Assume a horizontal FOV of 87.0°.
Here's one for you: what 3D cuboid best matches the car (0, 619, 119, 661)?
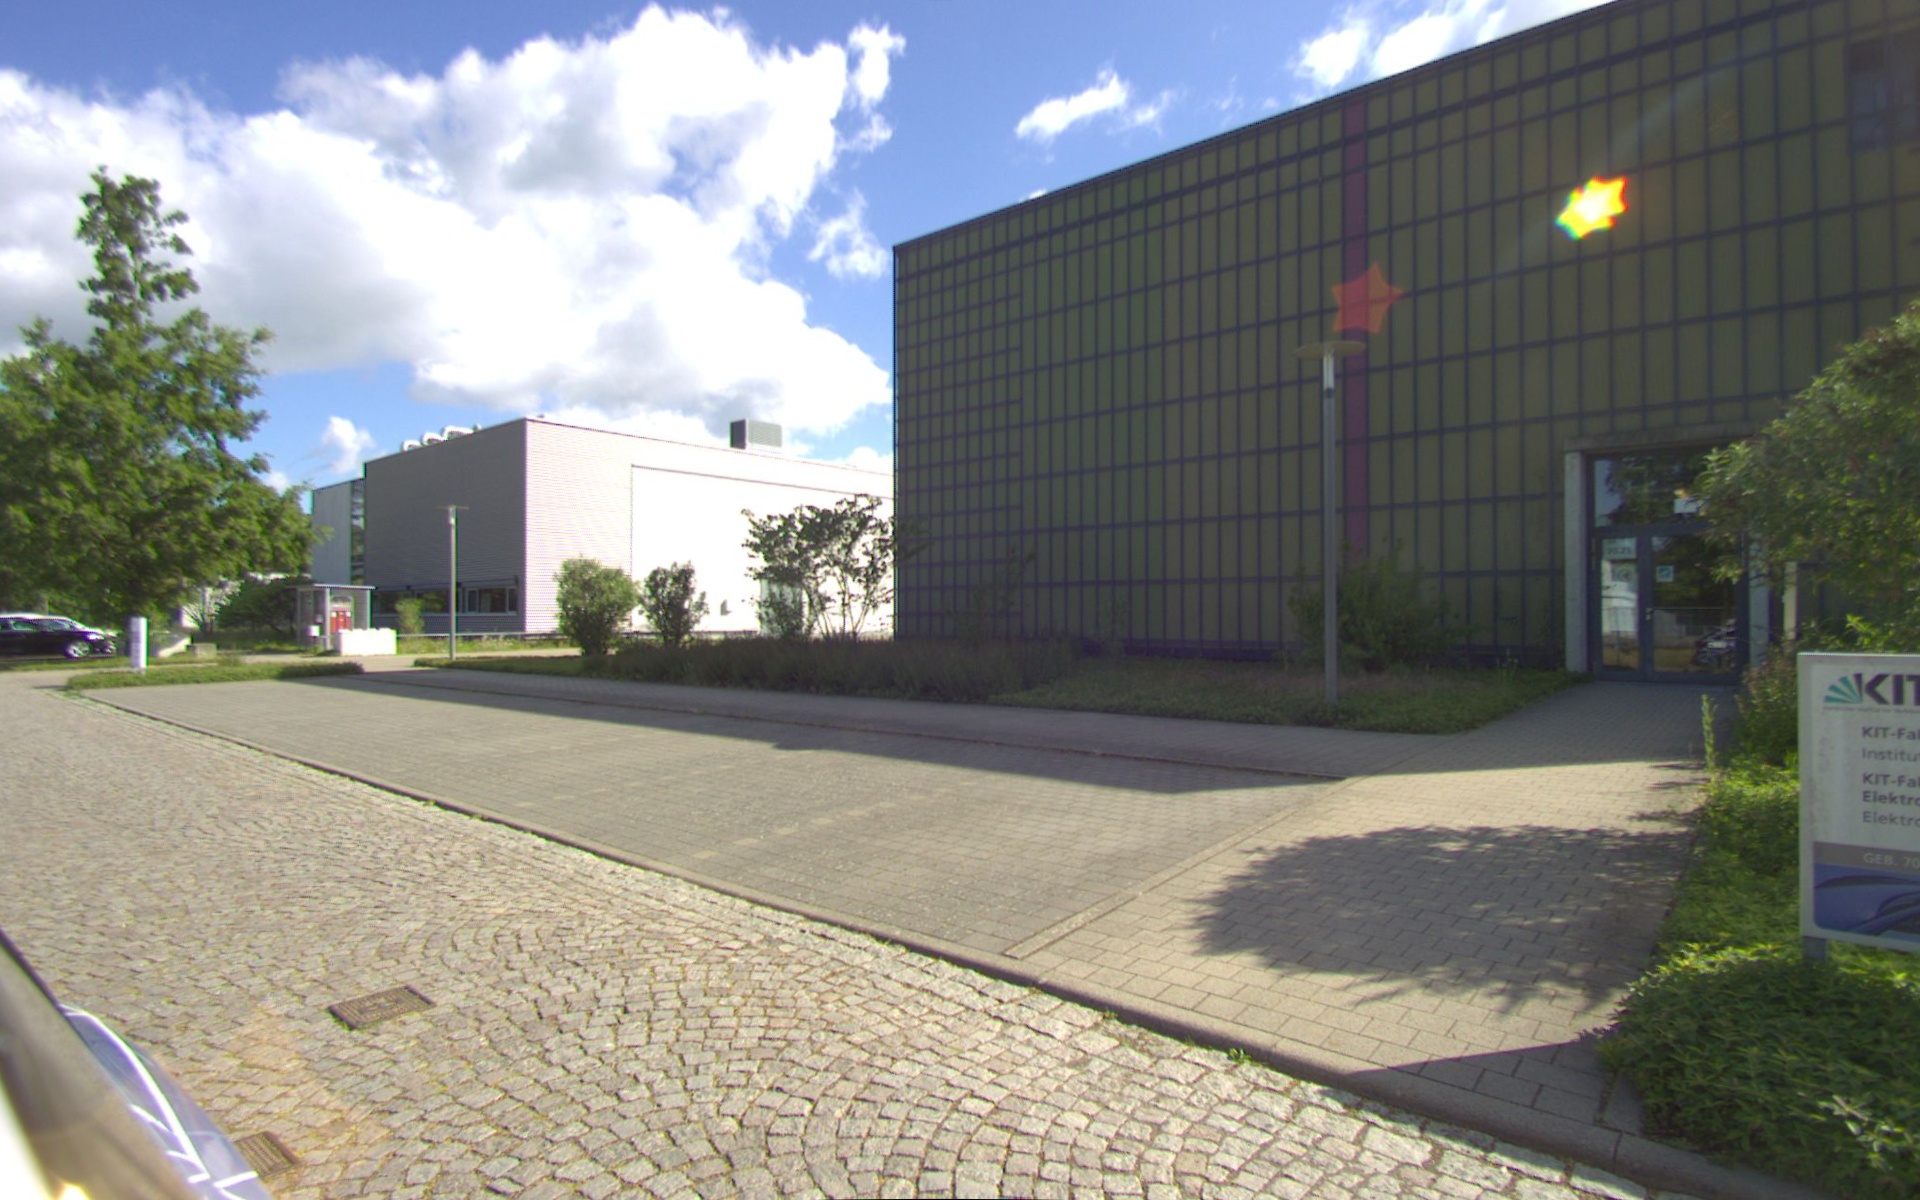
[{"bbox_3d":[-35.540,1.536,39.590,1.755,1.457,3.871,-1,0,42],"label":"car"}]

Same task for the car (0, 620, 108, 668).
[{"bbox_3d":[-30.825,1.450,32.822,1.755,1.434,4.671,-1,0,40],"label":"car"}]

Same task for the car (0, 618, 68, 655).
[{"bbox_3d":[-39.855,1.538,42.161,1.692,1.428,3.871,-1,0,42],"label":"car"}]

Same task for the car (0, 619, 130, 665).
[{"bbox_3d":[-31.928,1.445,35.605,4.090,1.471,1.693,-1,0,-44],"label":"car"}]

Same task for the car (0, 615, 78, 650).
[{"bbox_3d":[-41.628,1.454,44.653,1.795,1.446,3.871,-1,0,42],"label":"car"}]
